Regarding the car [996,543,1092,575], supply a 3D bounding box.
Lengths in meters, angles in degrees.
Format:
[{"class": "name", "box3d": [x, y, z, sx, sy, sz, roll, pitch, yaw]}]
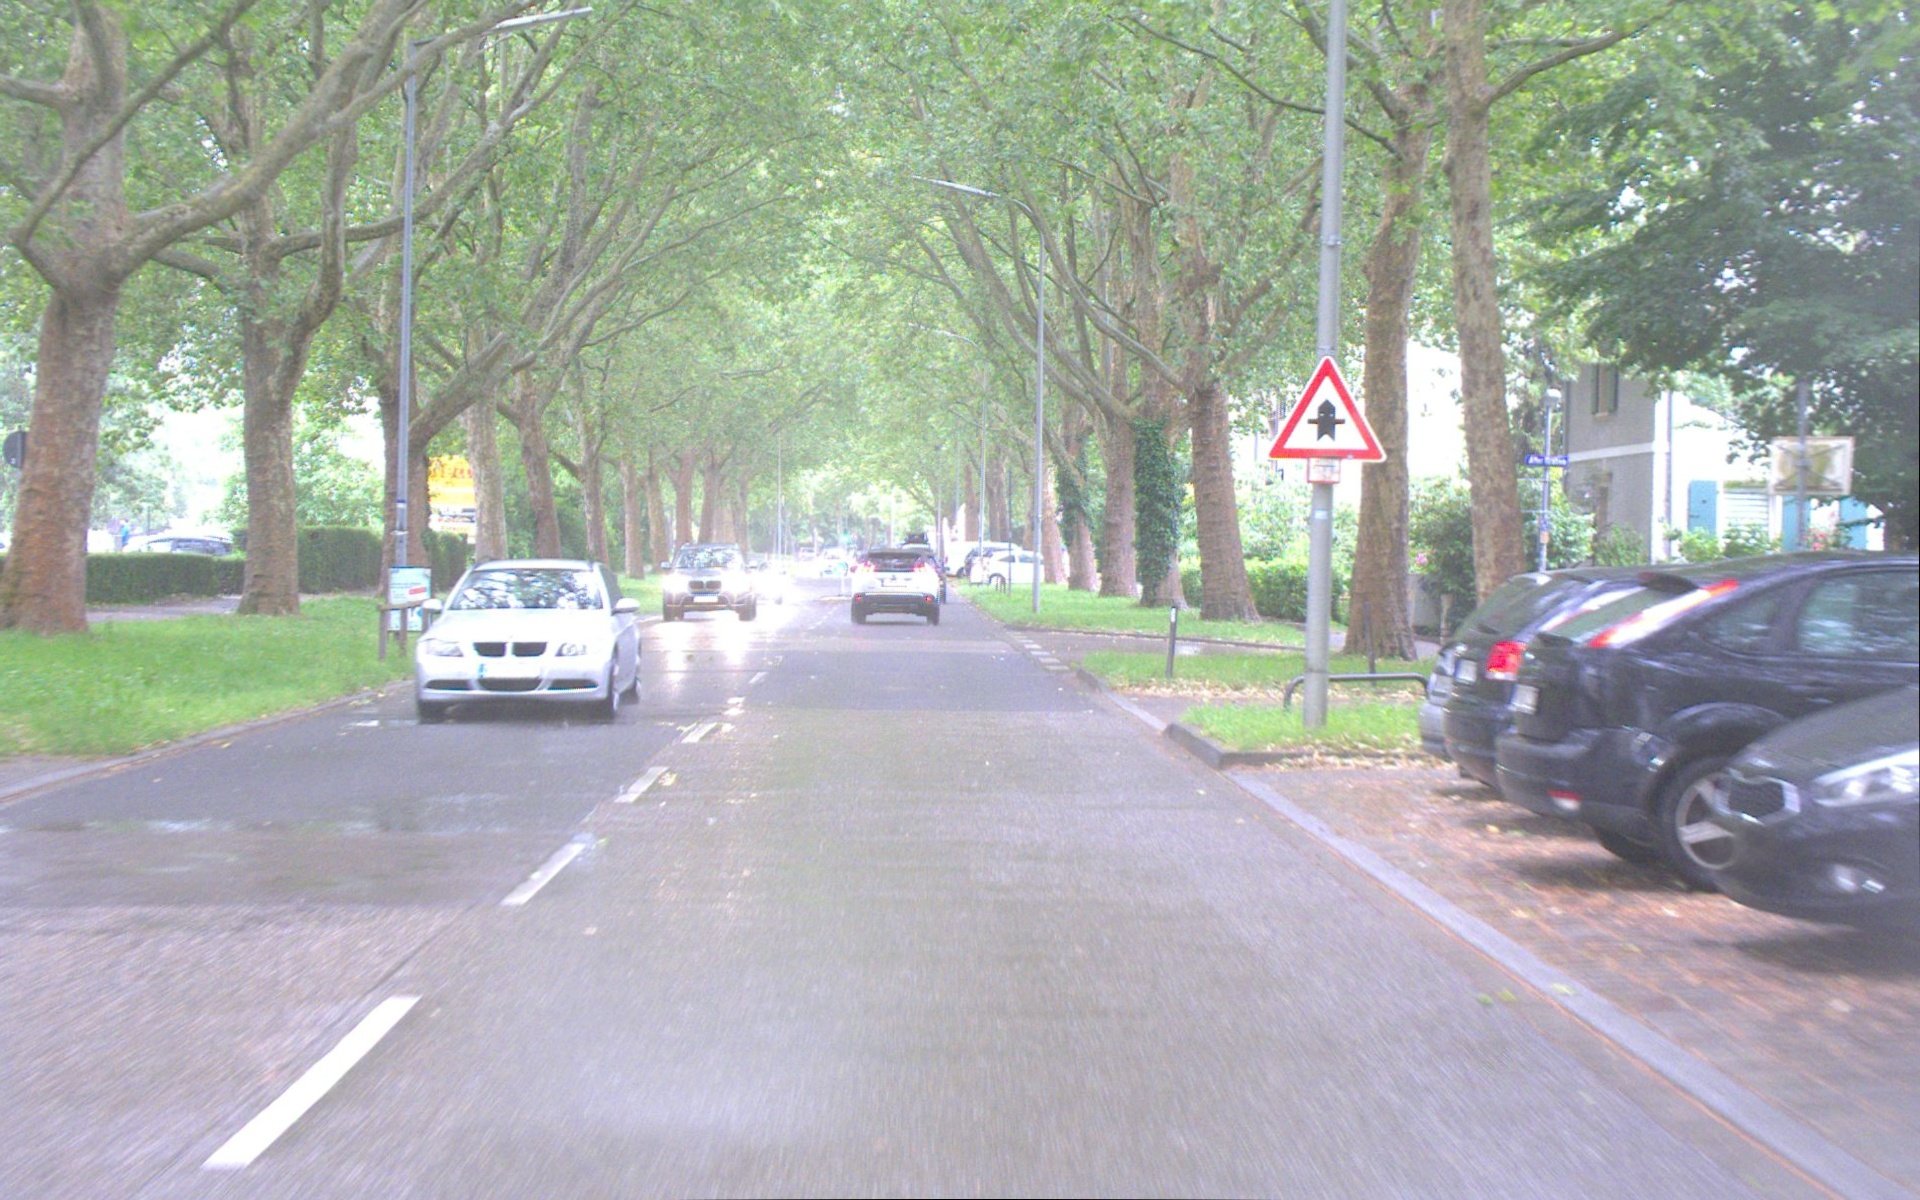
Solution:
[{"class": "car", "box3d": [3.219, -1.578, 132.525, 3.546, 1.151, 1.712, -1, 1, -3]}]

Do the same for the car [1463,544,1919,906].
[{"class": "car", "box3d": [4.484, 0.533, 15.583, 4.100, 1.508, 1.865, 1, 1, 0]}]

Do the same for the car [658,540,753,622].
[{"class": "car", "box3d": [-5.457, -0.434, 74.143, 1.809, 1.678, 4.449, 0, 1, -2]}]

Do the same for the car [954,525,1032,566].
[{"class": "car", "box3d": [1.527, -2.549, 160.414, 3.546, 1.835, 1.712, -1, 1, -2]}]

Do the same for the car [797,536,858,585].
[{"class": "car", "box3d": [-3.941, -1.185, 102.741, 1.706, 1.406, 3.645, -1, 1, -1]}]

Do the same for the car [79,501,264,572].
[{"class": "car", "box3d": [-19.000, -1.528, 82.937, 3.987, 1.617, 2.000, 1, 1, 0]}]

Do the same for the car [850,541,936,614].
[{"class": "car", "box3d": [-1.379, -0.482, 70.565, 1.706, 1.406, 3.645, -1, 1, -1]}]

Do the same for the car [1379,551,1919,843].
[{"class": "car", "box3d": [4.339, 0.492, 18.268, 3.987, 1.433, 1.679, 1, 1, 0]}]

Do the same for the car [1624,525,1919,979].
[{"class": "car", "box3d": [4.686, 0.542, 12.666, 4.041, 1.525, 1.781, 1, 1, -3]}]

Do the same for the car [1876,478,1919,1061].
[{"class": "car", "box3d": [4.855, 0.546, 9.234, 4.210, 1.650, 1.914, 1, 1, -1]}]

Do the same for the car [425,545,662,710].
[{"class": "car", "box3d": [-3.799, 0.199, 32.005, 1.678, 1.384, 4.549, 0, 1, 0]}]

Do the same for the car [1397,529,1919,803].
[{"class": "car", "box3d": [4.799, 0.380, 21.106, 3.987, 1.573, 1.679, 1, 1, 0]}]

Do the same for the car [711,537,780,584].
[{"class": "car", "box3d": [-5.891, -1.100, 94.703, 1.706, 1.246, 3.645, -1, 1, -1]}]
